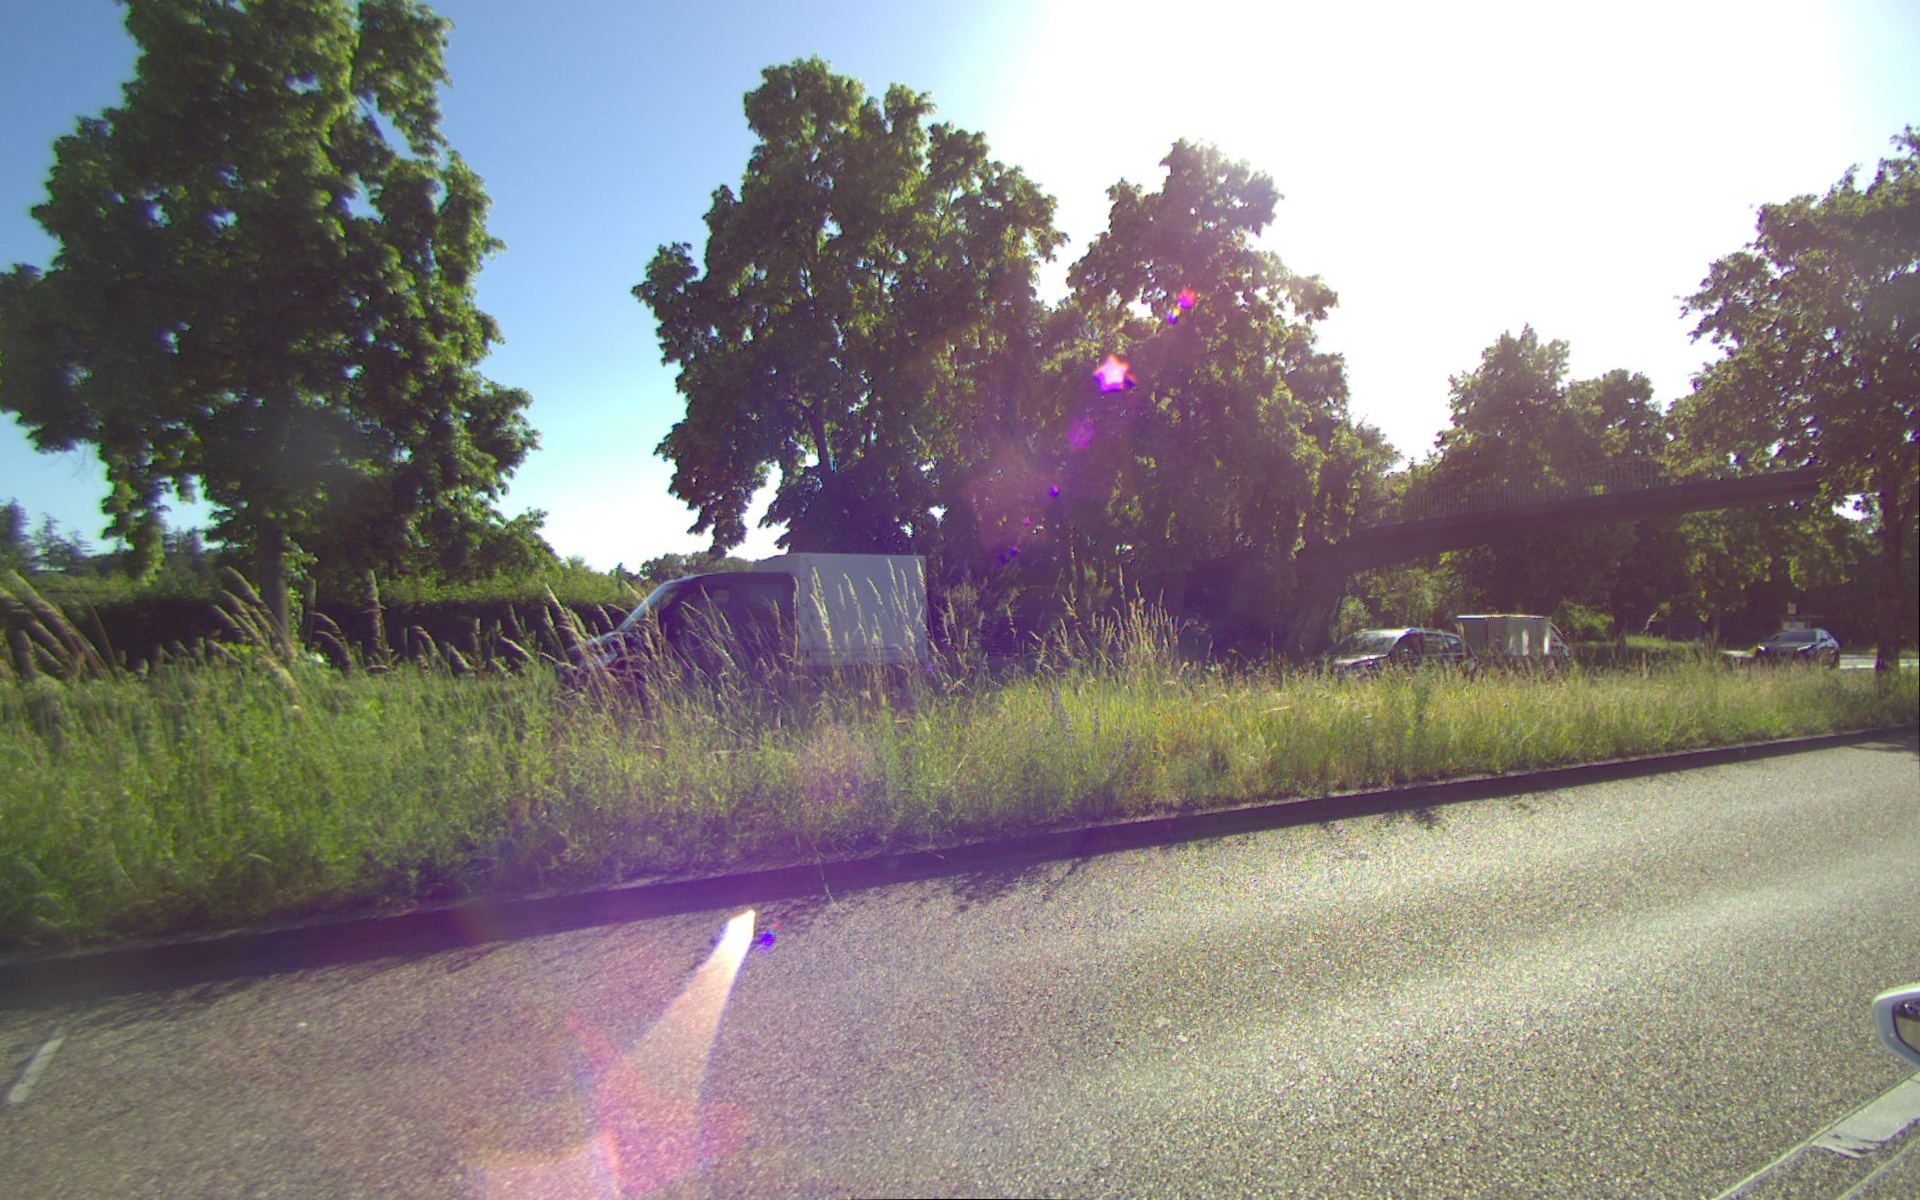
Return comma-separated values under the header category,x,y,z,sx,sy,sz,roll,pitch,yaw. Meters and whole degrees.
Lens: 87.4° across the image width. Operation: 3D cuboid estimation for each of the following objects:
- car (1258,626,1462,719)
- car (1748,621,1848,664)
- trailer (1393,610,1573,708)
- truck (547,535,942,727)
category,x,y,z,sx,sy,sz,roll,pitch,yaw
car,7.790,1.319,19.482,3.980,1.603,1.686,0,-1,-32
car,33.619,1.701,40.258,4.848,1.668,1.722,1,-3,-34
trailer,11.312,1.211,21.647,4.236,1.935,1.554,1,-1,-33
truck,-3.264,0.508,15.735,5.677,2.545,2.162,1,-3,-32
